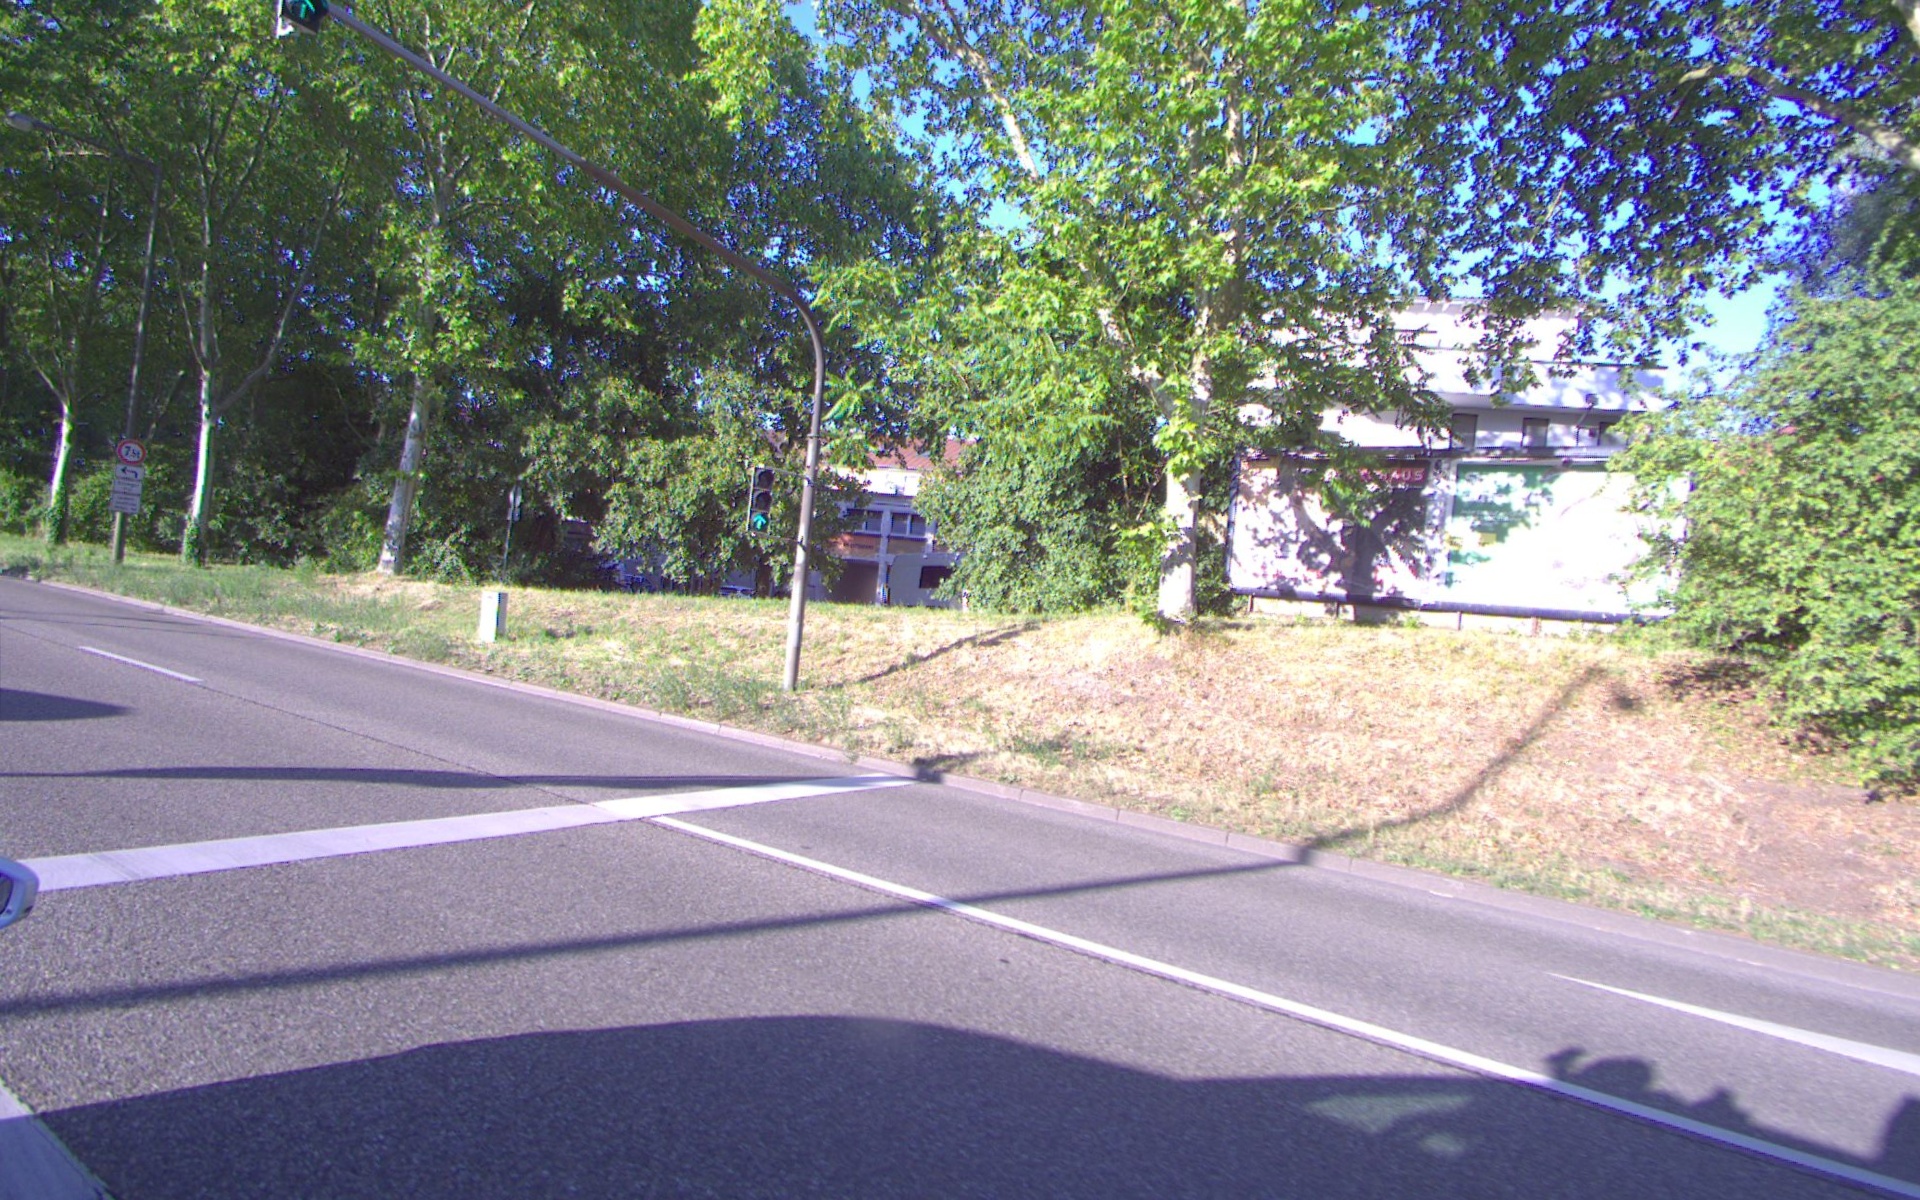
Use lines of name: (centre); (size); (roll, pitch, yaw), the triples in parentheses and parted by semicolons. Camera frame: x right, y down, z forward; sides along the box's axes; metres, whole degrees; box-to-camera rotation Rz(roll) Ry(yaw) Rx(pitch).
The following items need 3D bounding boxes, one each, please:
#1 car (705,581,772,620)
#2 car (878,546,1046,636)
car: (-12.428, 0.063, 56.739); (1.882, 1.725, 4.005); (6, -2, 15)
car: (0.000, -0.344, 34.551); (5.542, 2.542, 1.802); (5, -2, 36)
